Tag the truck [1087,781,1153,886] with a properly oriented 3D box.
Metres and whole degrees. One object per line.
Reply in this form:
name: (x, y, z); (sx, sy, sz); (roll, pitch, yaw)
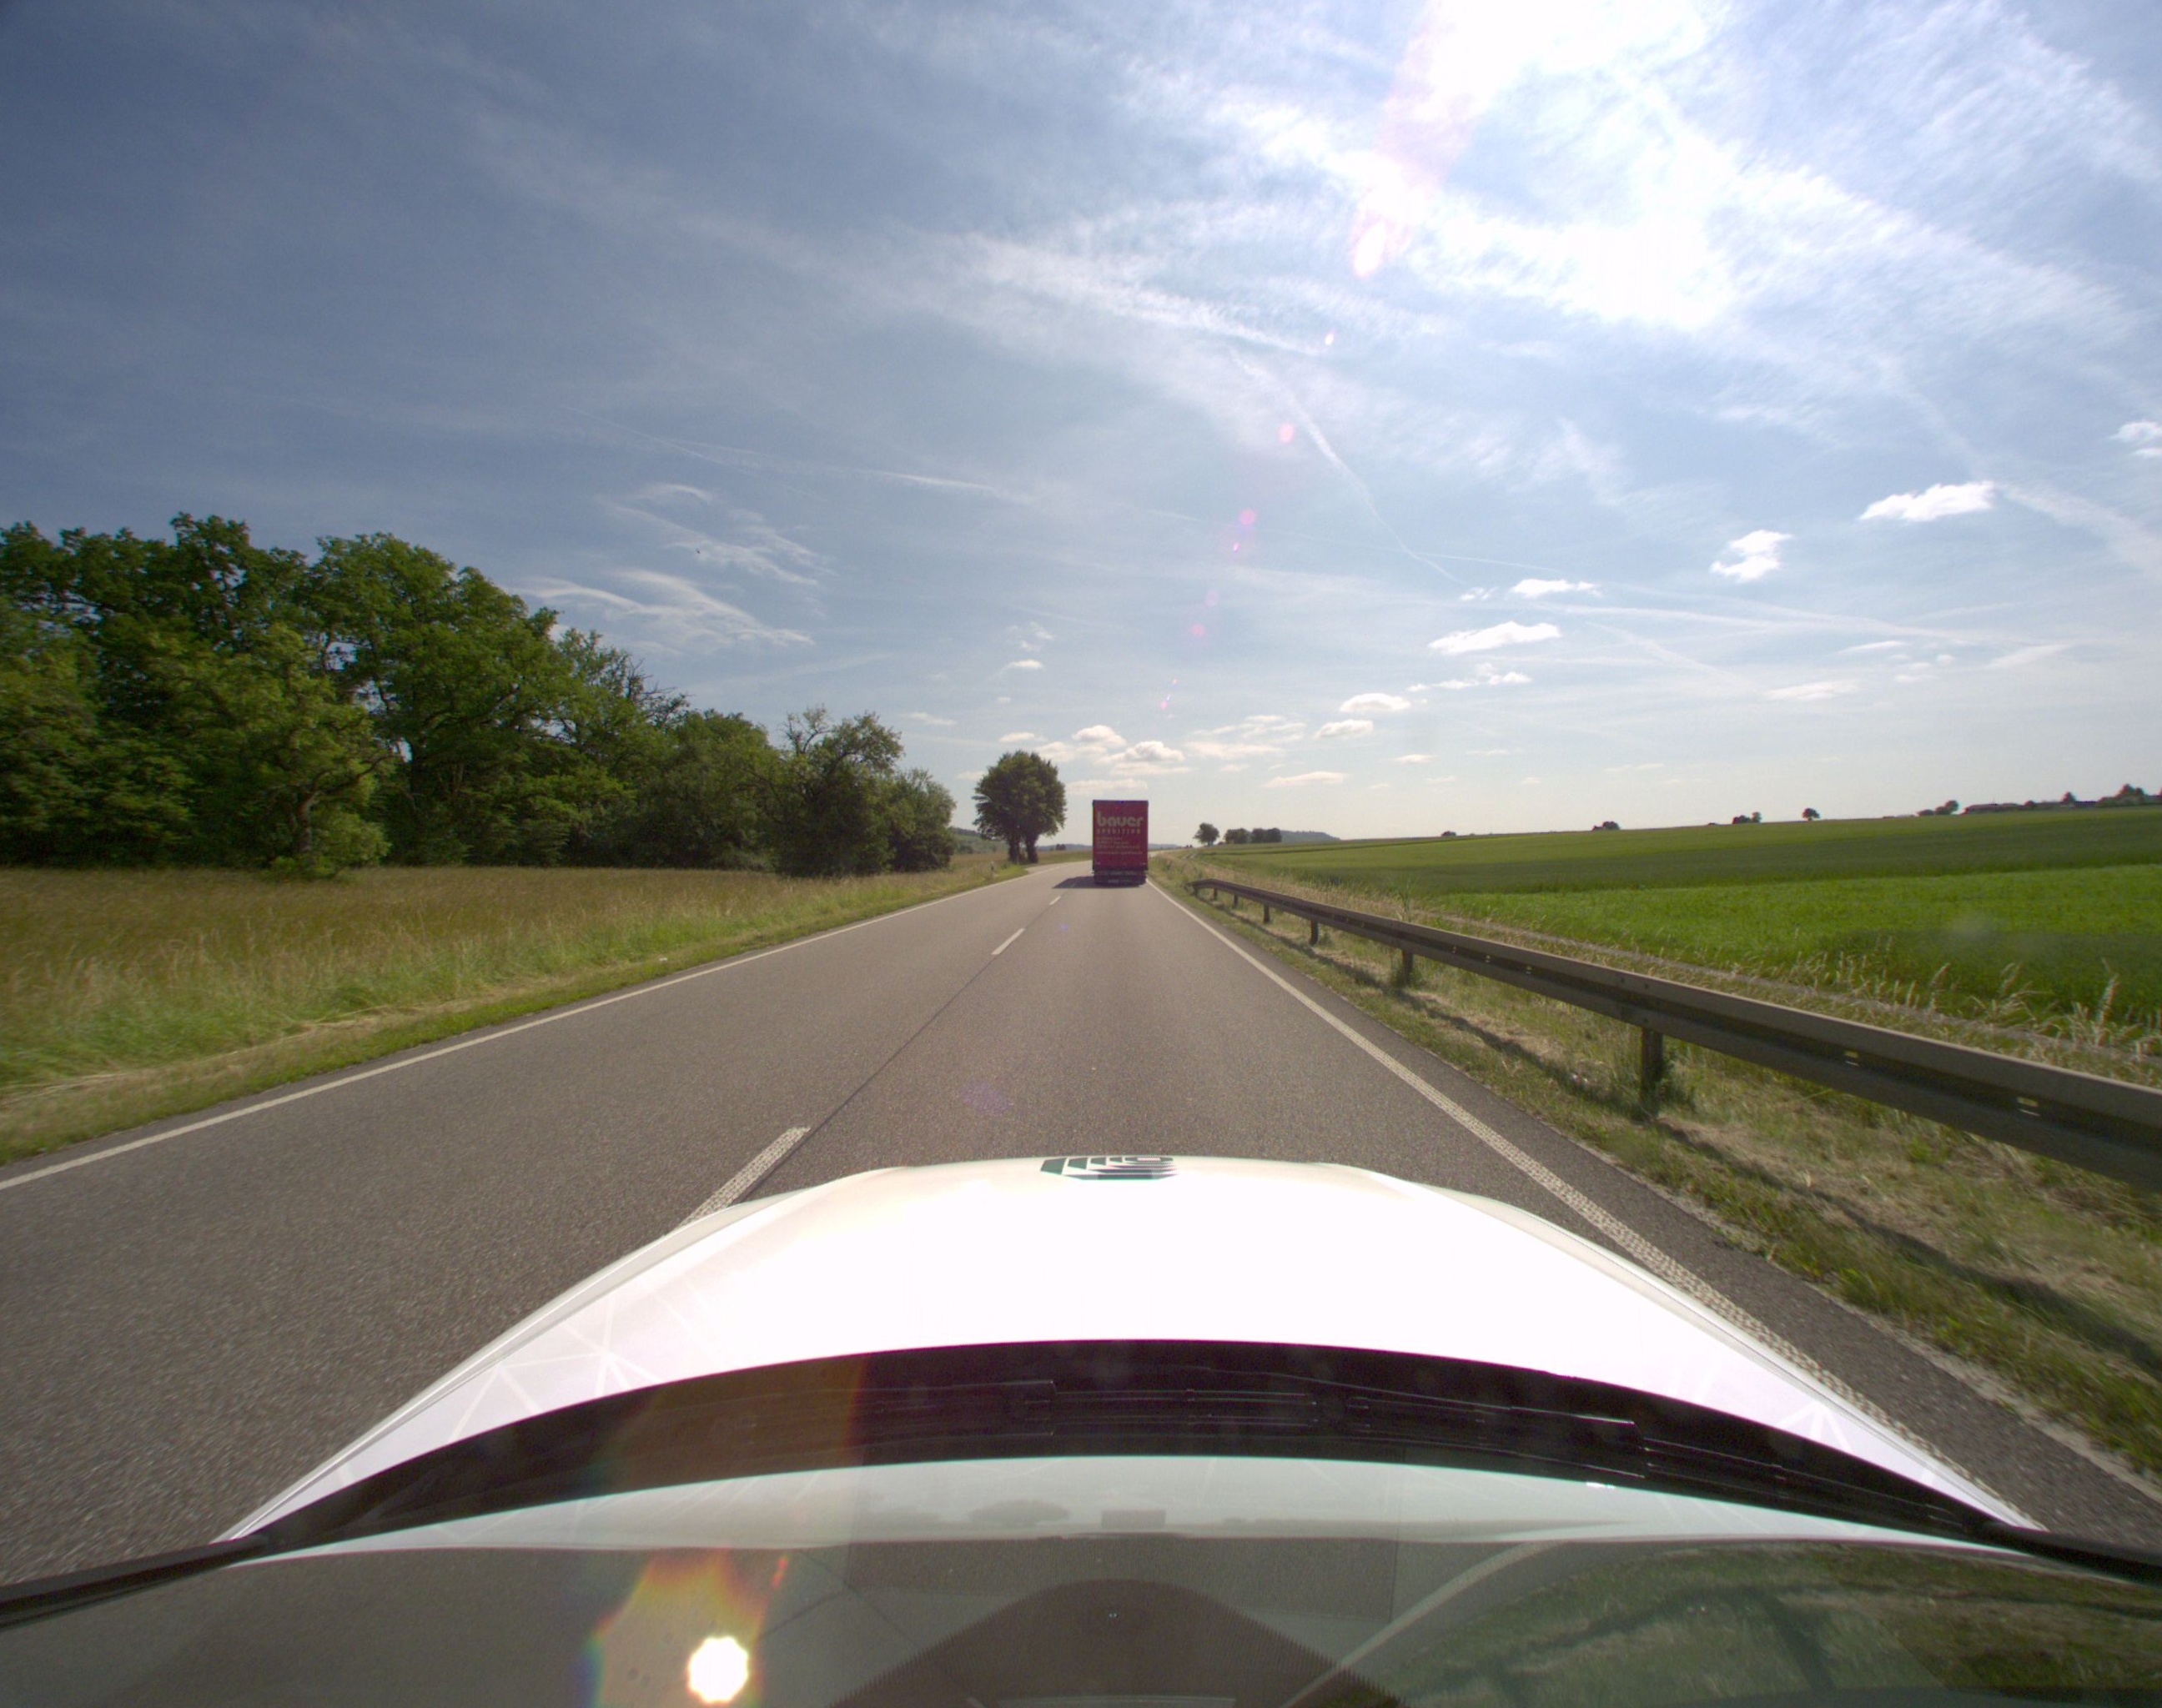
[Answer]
truck: (1.811, -0.883, 41.343); (2.965, 4.713, 9.366); (0, -1, 1)
